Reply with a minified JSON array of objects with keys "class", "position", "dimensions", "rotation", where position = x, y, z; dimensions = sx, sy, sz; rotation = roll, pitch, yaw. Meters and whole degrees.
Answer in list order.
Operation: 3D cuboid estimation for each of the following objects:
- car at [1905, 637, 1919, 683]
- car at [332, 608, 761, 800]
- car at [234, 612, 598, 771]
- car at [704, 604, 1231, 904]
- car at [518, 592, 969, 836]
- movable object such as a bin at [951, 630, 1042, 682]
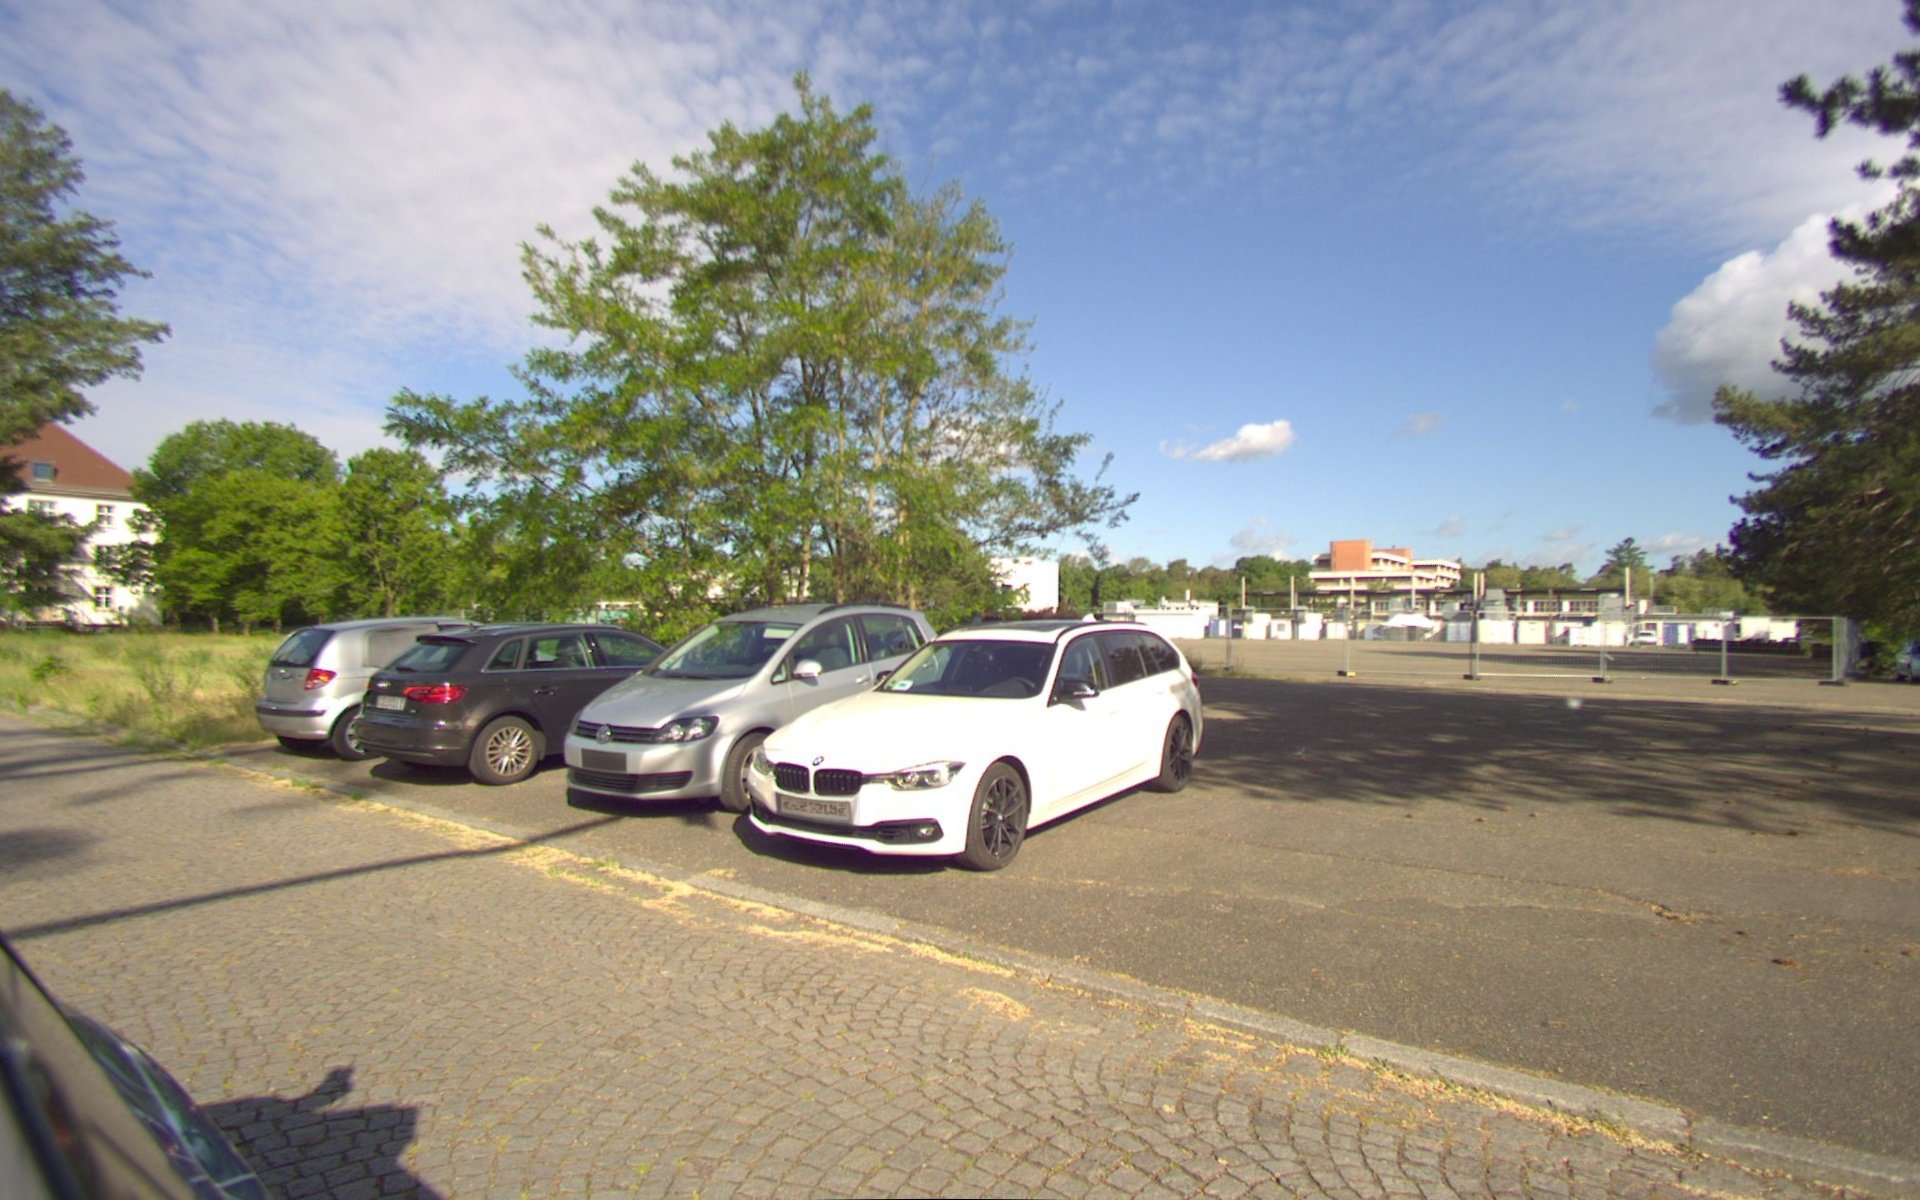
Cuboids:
[{"class":"car","position":[30.279,1.827,30.947],"dimensions":[1.746,1.381,3.574],"rotation":[-1,-2,39]},{"class":"car","position":[-4.057,0.885,10.451],"dimensions":[1.685,1.482,3.762],"rotation":[-1,1,37]},{"class":"car","position":[-6.285,0.939,12.006],"dimensions":[1.633,1.482,3.435],"rotation":[-1,1,35]},{"class":"car","position":[0.407,0.830,7.661],"dimensions":[1.748,1.478,4.502],"rotation":[-1,0,35]},{"class":"car","position":[-1.694,0.788,9.136],"dimensions":[1.717,1.638,3.912],"rotation":[-1,1,33]},{"class":"movable object such as a bin","position":[0.864,1.243,23.102],"dimensions":[0.996,1.116,2.258],"rotation":[-1,-2,36]}]
